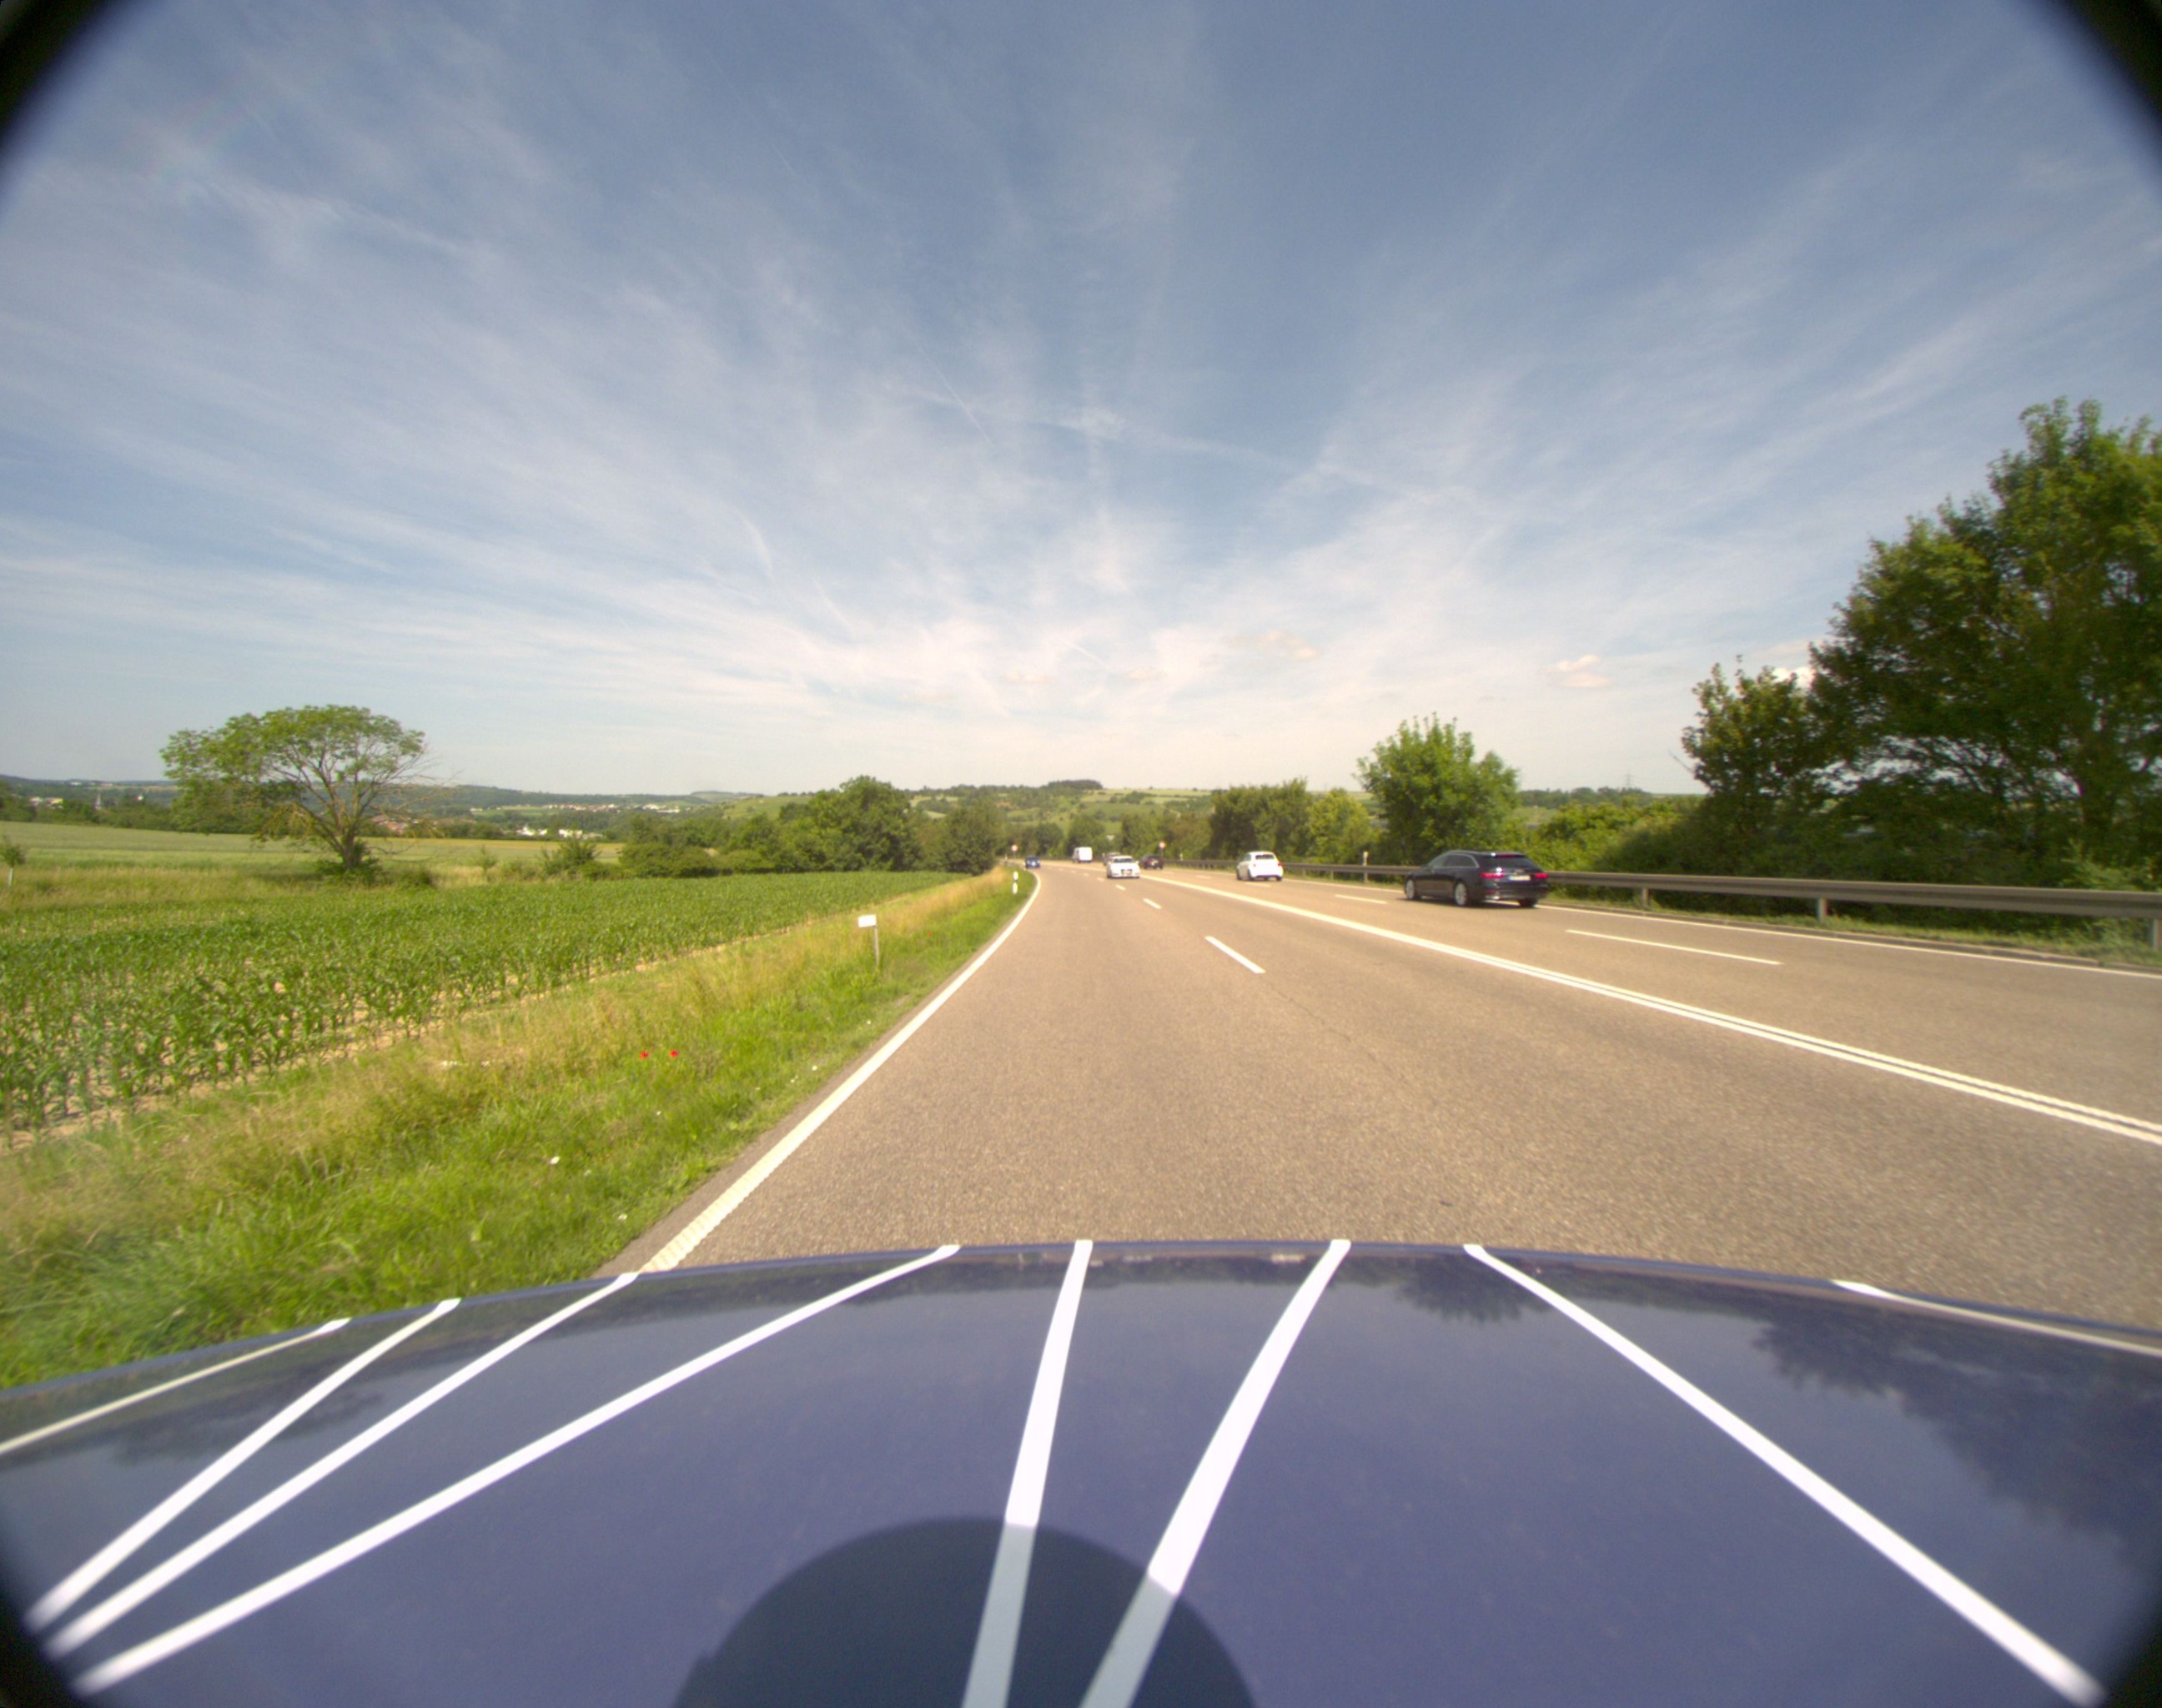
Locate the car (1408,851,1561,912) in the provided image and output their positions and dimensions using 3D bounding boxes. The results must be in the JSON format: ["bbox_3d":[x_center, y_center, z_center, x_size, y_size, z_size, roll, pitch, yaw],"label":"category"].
[{"bbox_3d":[10.527,0.643,20.223,1.841,1.447,4.326,0,0,1],"label":"car"}]

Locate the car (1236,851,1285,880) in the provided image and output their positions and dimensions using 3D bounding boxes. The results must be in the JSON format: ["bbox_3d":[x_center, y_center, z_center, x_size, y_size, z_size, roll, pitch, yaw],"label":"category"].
[{"bbox_3d":[9.470,0.584,40.287,1.662,1.449,3.733,-1,1,-1],"label":"car"}]

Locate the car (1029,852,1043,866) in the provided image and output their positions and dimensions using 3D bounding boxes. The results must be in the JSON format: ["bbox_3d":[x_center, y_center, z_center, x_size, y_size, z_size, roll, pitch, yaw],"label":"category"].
[{"bbox_3d":[-5.585,0.611,94.775,1.636,1.522,3.913,-4,1,-3],"label":"car"}]

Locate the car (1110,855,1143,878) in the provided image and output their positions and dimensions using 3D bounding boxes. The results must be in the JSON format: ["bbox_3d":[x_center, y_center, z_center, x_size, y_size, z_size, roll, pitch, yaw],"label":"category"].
[{"bbox_3d":[2.865,0.756,48.572,1.708,1.368,4.602,-1,0,-1],"label":"car"}]

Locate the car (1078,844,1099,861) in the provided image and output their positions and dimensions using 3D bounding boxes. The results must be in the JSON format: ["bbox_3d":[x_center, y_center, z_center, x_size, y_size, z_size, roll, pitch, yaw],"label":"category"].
[{"bbox_3d":[1.128,-0.176,114.917,2.095,2.380,5.839,-1,0,-10],"label":"car"}]

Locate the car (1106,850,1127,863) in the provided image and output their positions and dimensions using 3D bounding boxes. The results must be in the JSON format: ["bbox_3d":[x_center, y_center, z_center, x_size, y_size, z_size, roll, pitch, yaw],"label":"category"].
[{"bbox_3d":[4.401,0.296,94.472,1.819,1.559,4.680,-1,0,-8],"label":"car"}]

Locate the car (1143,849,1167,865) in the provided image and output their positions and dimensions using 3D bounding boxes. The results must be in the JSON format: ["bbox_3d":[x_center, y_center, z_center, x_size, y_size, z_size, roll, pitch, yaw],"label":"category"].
[{"bbox_3d":[7.122,0.300,73.487,1.723,1.453,4.213,-1,0,-3],"label":"car"}]
